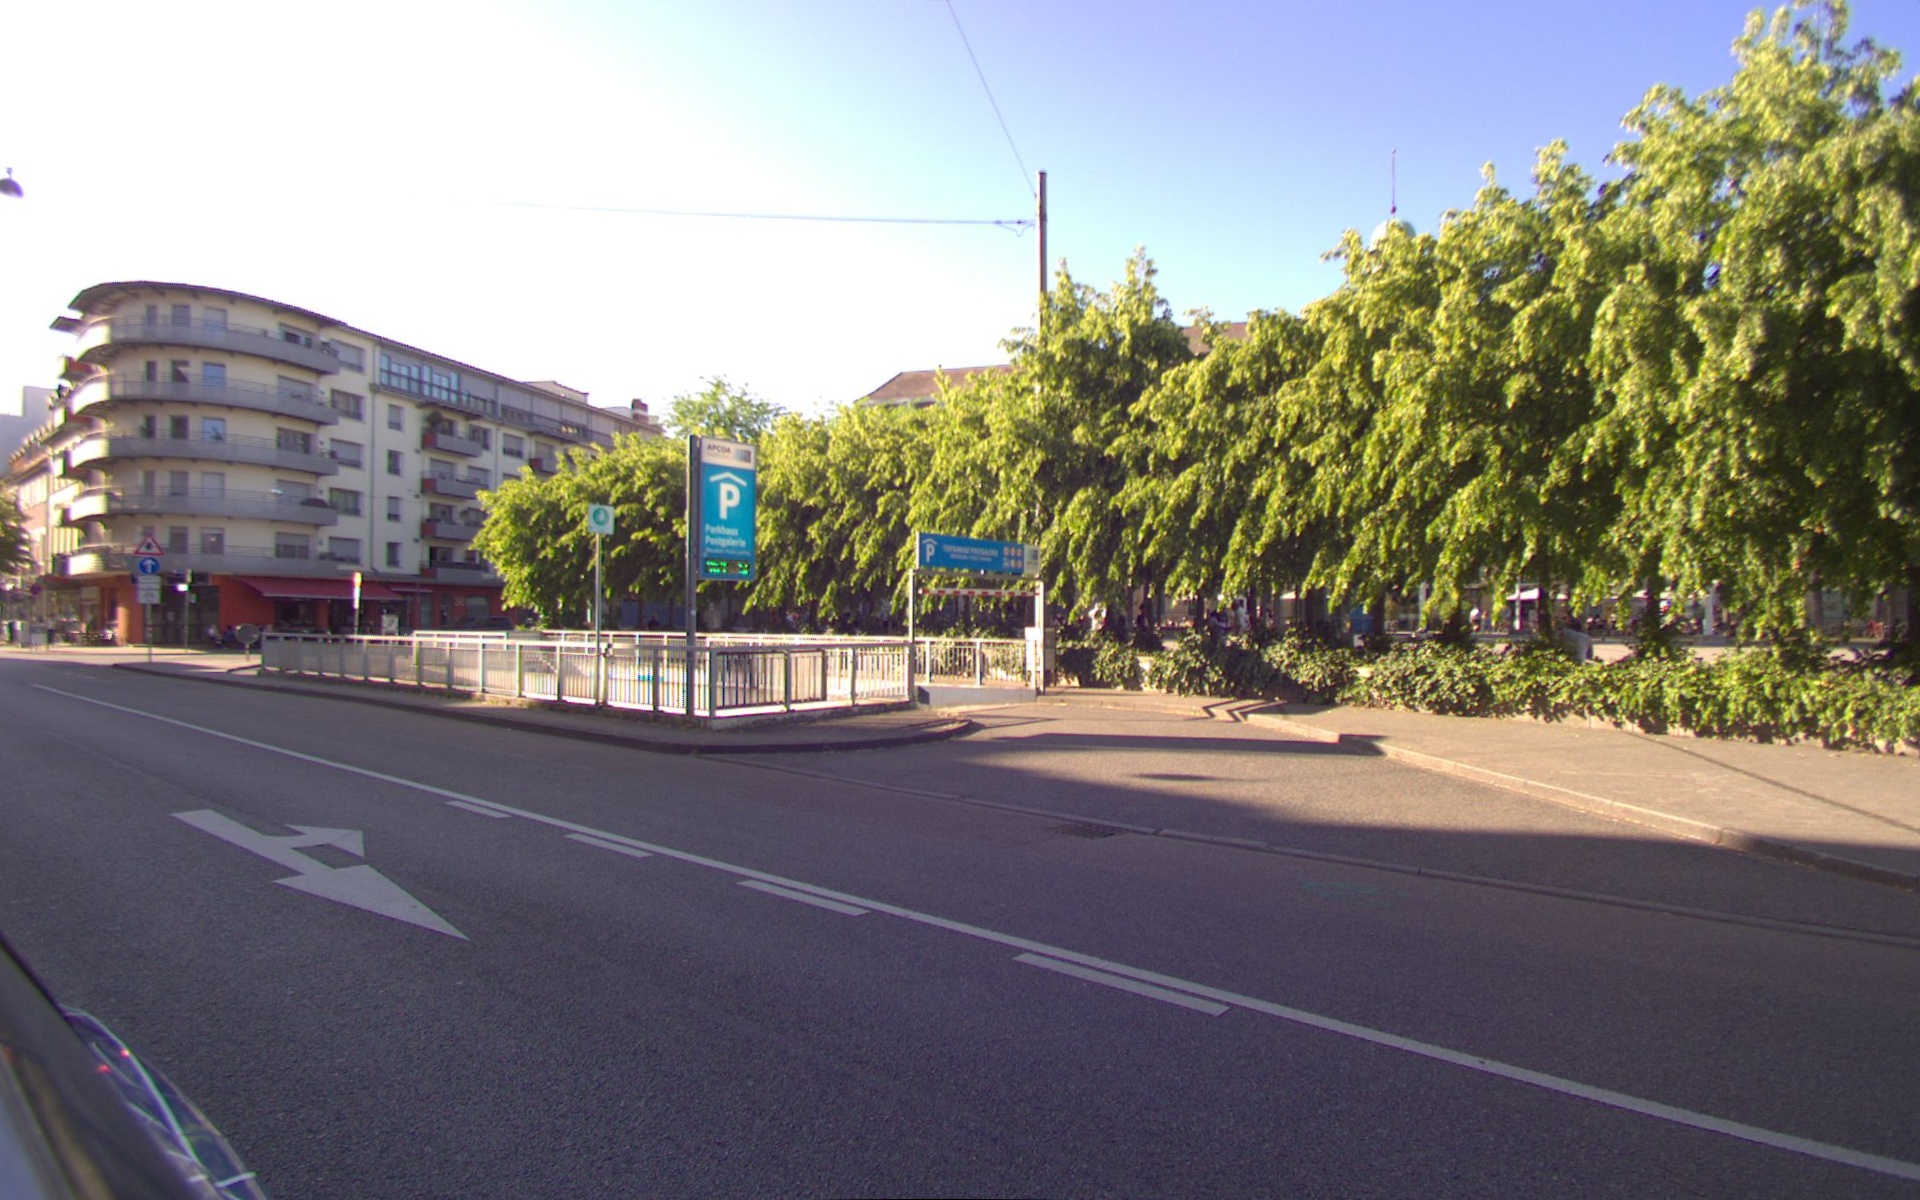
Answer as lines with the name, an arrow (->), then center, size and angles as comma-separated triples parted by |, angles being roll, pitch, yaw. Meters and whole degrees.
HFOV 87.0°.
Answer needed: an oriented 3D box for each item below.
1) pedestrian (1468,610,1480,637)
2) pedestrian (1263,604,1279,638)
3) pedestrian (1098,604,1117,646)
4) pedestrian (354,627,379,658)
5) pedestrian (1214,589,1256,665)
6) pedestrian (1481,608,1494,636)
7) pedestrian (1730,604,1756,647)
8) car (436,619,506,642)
pedestrian -> 33.373, 1.493, 65.731 | 0.643, 1.734, 0.603 | -1, 0, 26
pedestrian -> 15.664, 1.054, 50.950 | 0.606, 1.734, 0.640 | -1, 0, 31
pedestrian -> 6.084, 1.026, 41.774 | 0.604, 1.734, 0.642 | -1, 0, 21
pedestrian -> -32.615, 2.332, 55.634 | 0.877, 1.607, 0.861 | -1, 0, 2
pedestrian -> 6.135, 0.599, 22.587 | 0.645, 1.661, 0.626 | -1, 0, -35
pedestrian -> 33.678, 1.404, 64.619 | 0.643, 1.734, 0.603 | -1, 0, 26
pedestrian -> 31.672, 1.029, 40.947 | 0.641, 1.734, 0.605 | -1, 0, 18
car -> -30.496, 1.885, 63.207 | 1.742, 1.311, 3.977 | -1, -1, 17
